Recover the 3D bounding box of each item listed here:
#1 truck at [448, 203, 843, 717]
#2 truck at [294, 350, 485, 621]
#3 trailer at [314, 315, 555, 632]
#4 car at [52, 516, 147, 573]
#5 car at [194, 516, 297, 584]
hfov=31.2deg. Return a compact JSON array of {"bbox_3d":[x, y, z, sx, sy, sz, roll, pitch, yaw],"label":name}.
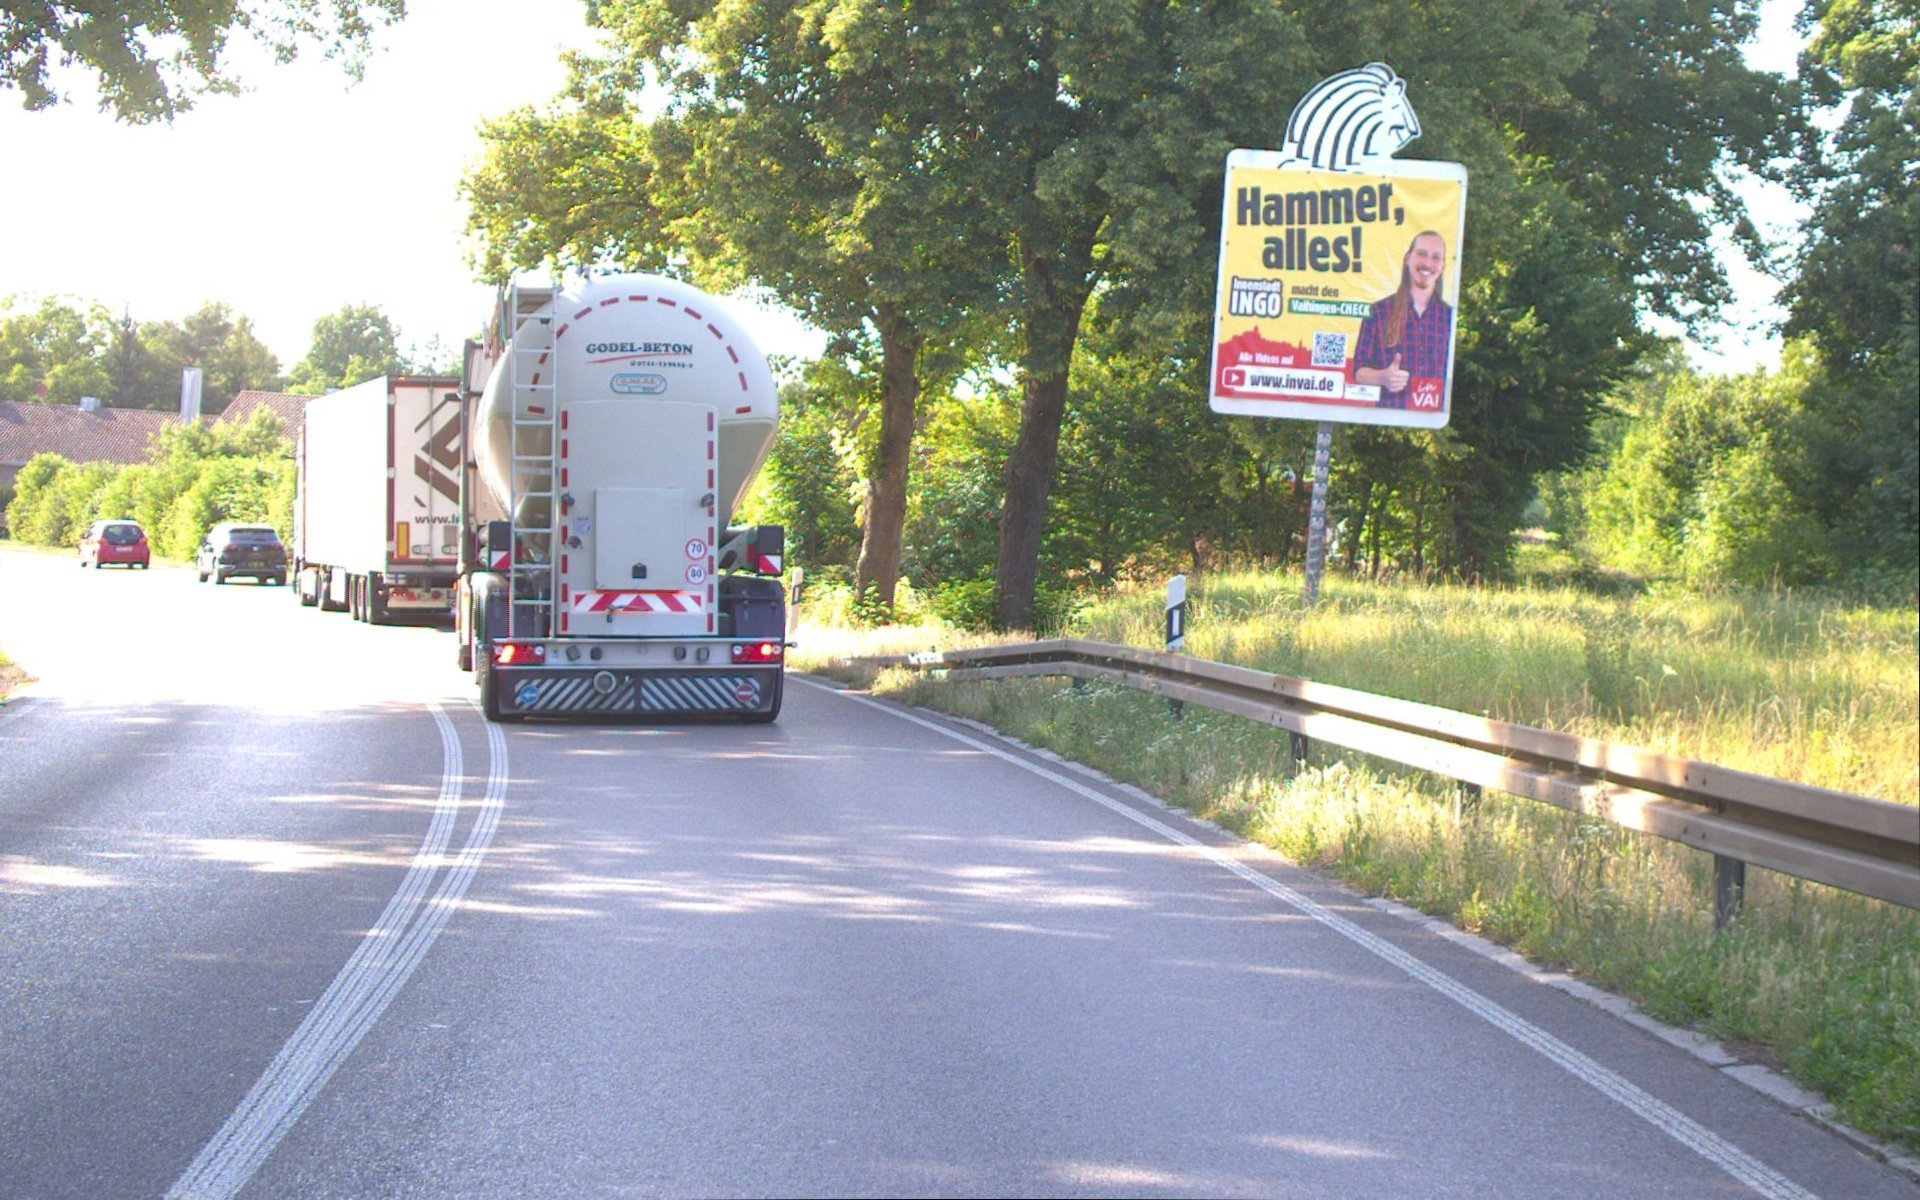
[{"bbox_3d":[-3.438,-1.207,34.100,2.975,4.161,11.665,1,1,-9],"label":"truck"},{"bbox_3d":[-11.009,-2.114,65.854,2.962,4.870,6.432,1,0,-14],"label":"truck"},{"bbox_3d":[-9.131,-2.026,58.666,2.963,4.865,10.291,1,0,-14],"label":"trailer"},{"bbox_3d":[-26.073,-1.684,104.083,2.299,1.650,4.416,1,1,-20],"label":"car"},{"bbox_3d":[-18.352,-1.279,88.168,1.993,1.650,4.001,1,1,-20],"label":"car"}]
